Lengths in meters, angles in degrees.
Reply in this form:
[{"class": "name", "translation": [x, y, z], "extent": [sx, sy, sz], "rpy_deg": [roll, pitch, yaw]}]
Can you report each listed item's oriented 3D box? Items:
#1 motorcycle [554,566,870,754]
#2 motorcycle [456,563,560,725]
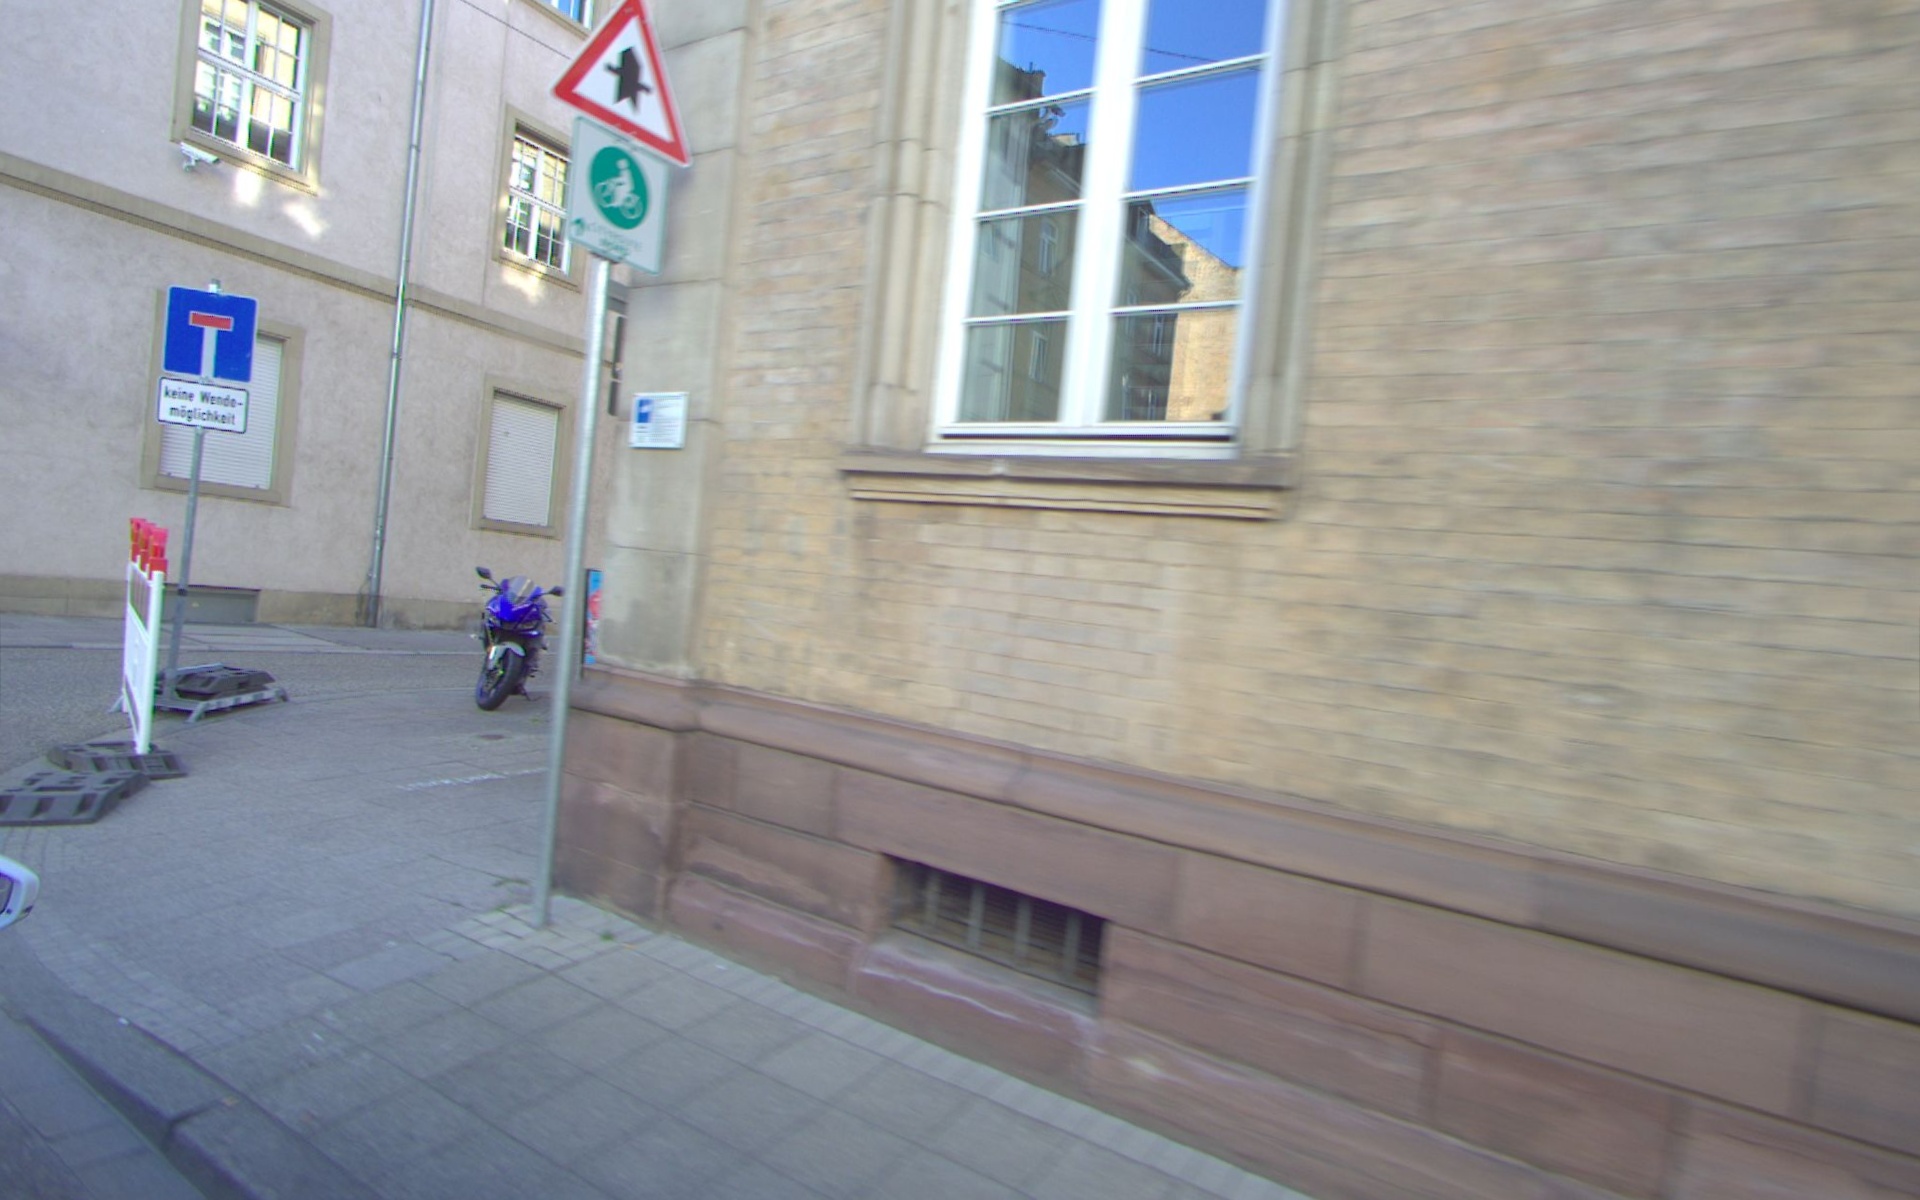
[{"class": "motorcycle", "translation": [-1.960, 0.490, 8.155], "extent": [2.281, 1.259, 0.670], "rpy_deg": [6, 0, -12]}, {"class": "motorcycle", "translation": [-4.084, 0.335, 9.123], "extent": [0.662, 1.259, 2.178], "rpy_deg": [6, 0, -24]}]
